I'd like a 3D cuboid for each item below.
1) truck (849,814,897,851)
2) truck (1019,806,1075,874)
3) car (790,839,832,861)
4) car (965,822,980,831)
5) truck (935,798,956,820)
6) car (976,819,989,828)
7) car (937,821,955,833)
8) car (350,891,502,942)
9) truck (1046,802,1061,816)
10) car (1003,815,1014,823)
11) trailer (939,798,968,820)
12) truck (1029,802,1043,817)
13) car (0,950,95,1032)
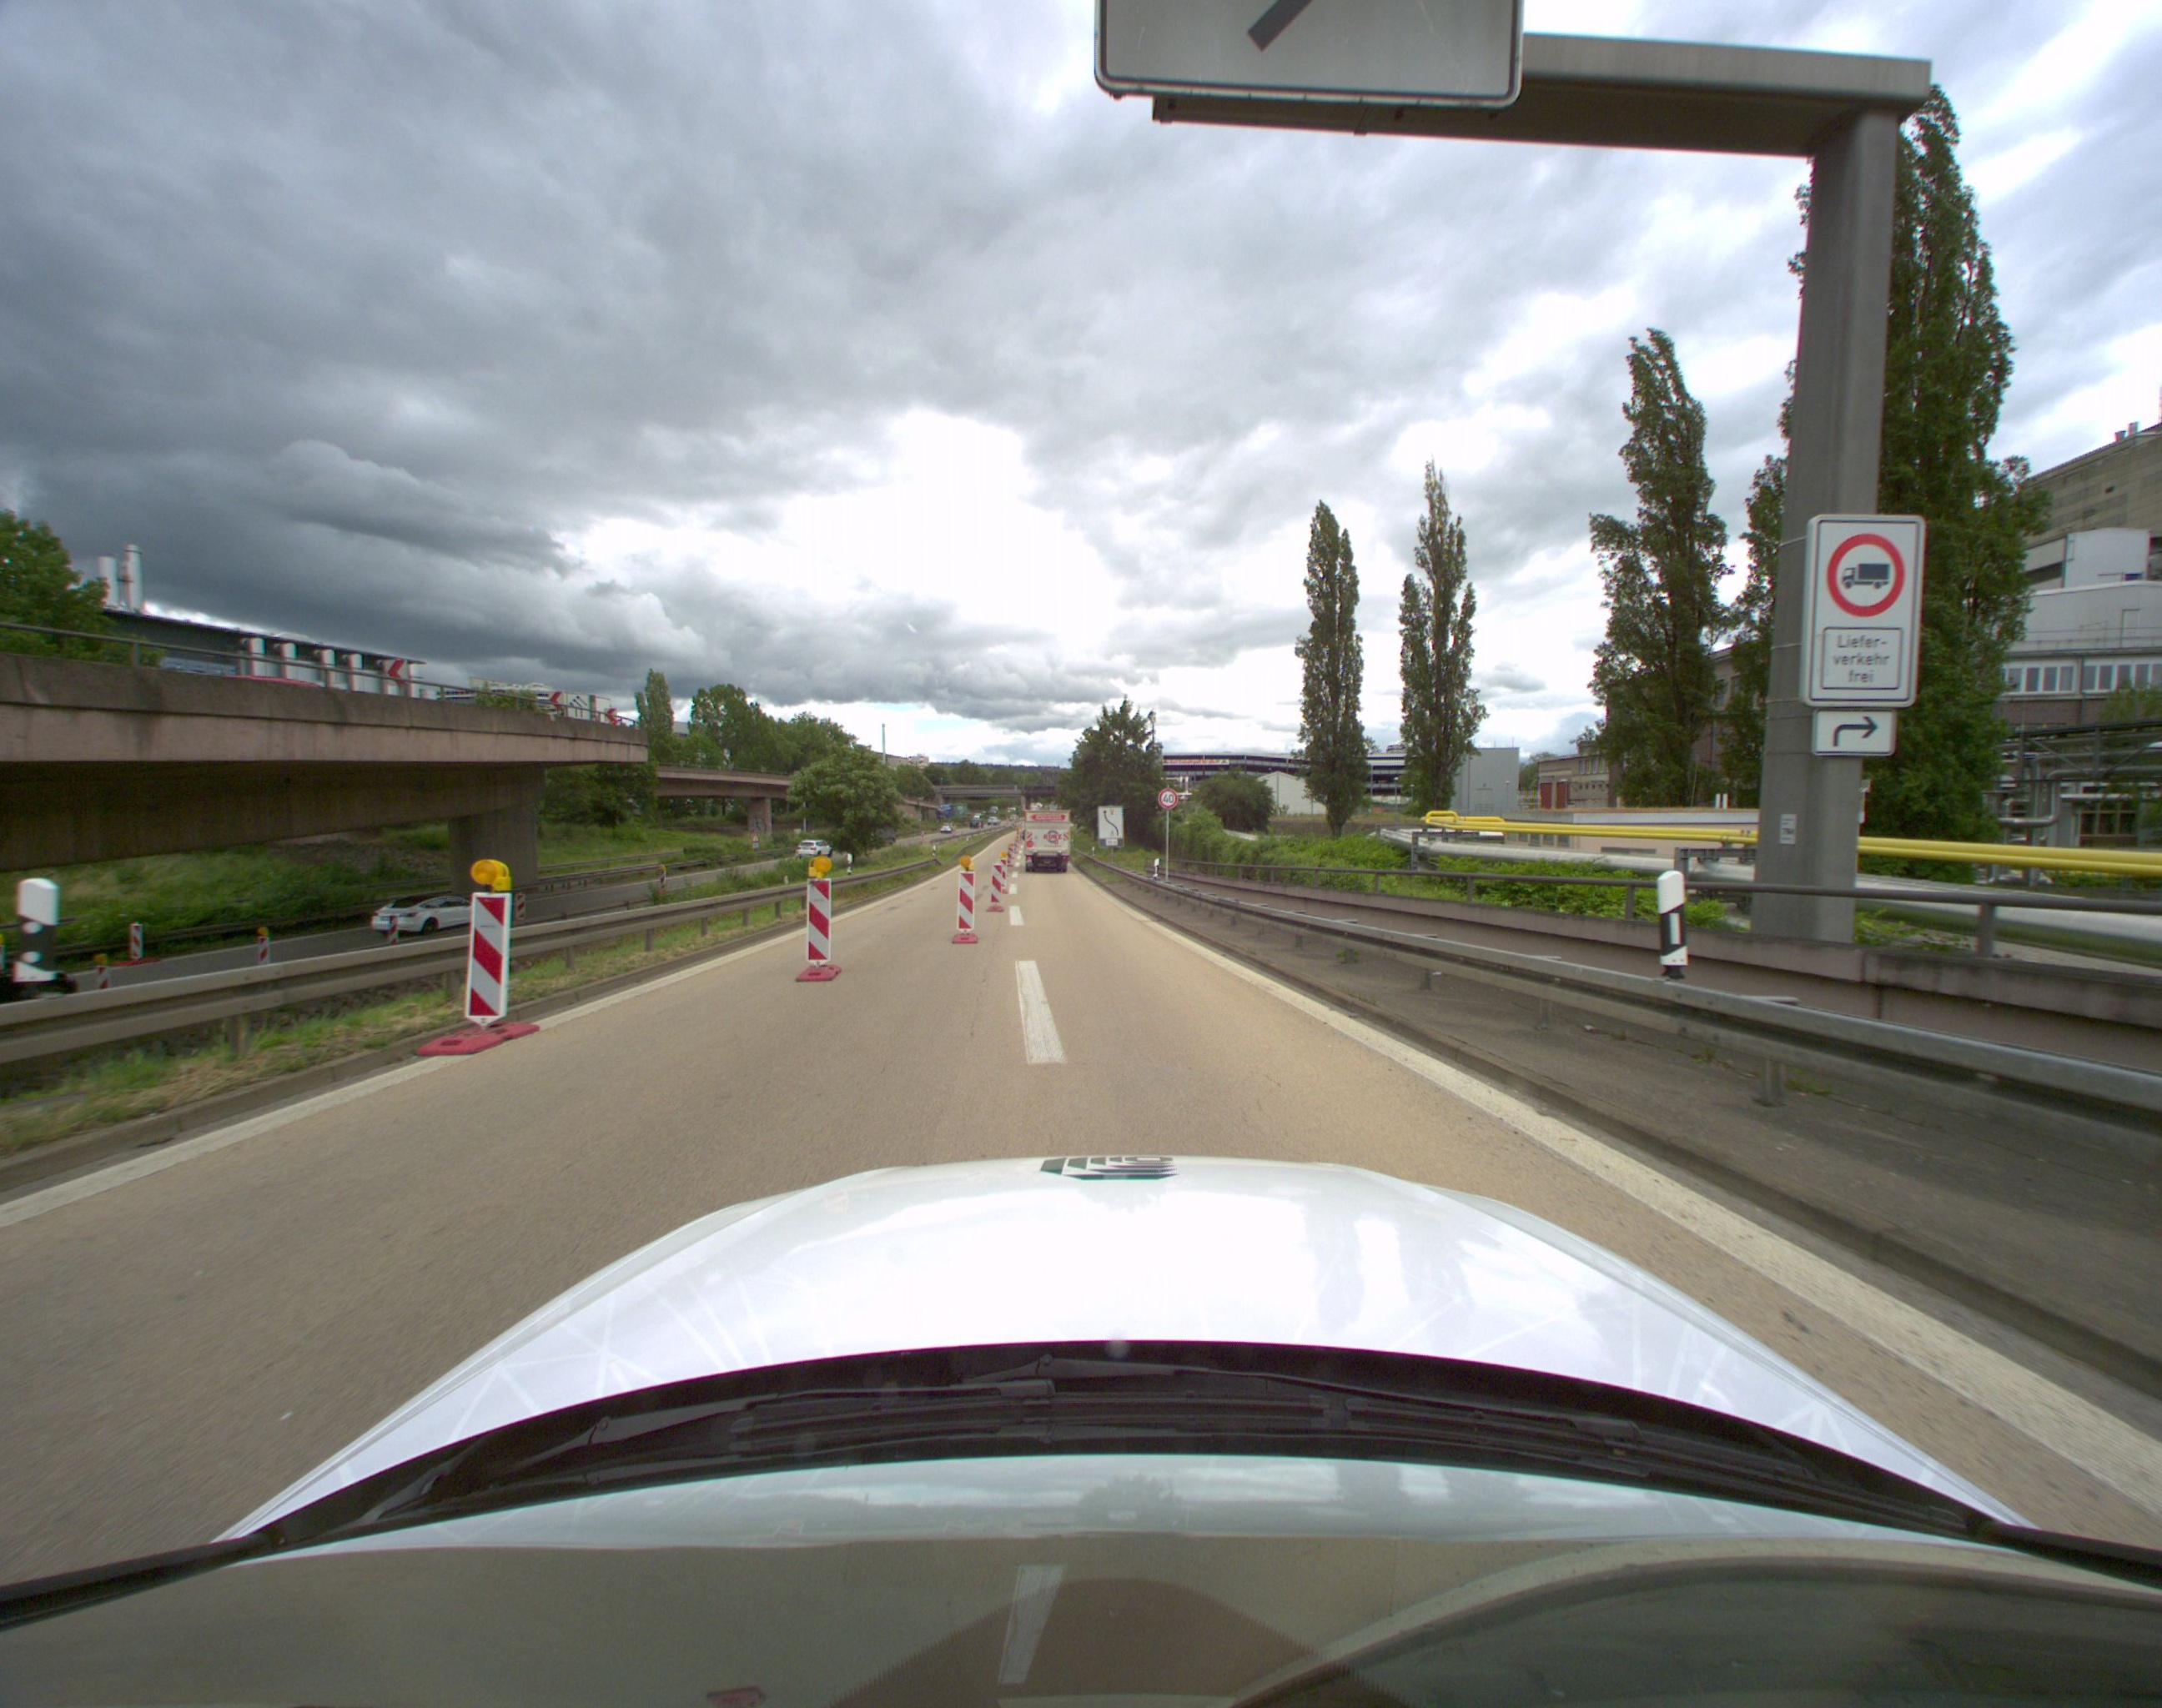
[{"bbox_3d":[-22.030,-2.363,86.665,3.039,3.655,7.401,0,3,2],"label":"truck"},{"bbox_3d":[-2.118,-0.883,48.550,3.045,3.672,7.918,0,2,-4],"label":"truck"},{"bbox_3d":[-24.002,-0.390,72.522,1.984,1.712,4.109,1,3,5],"label":"car"},{"bbox_3d":[-18.994,-4.839,143.054,1.986,1.617,4.002,0,3,1],"label":"car"},{"bbox_3d":[-26.995,-8.955,162.193,2.739,4.270,5.512,1,3,5],"label":"truck"},{"bbox_3d":[-18.632,-5.713,154.133,1.986,1.617,4.002,0,3,1],"label":"car"},{"bbox_3d":[-20.515,-4.137,123.937,1.986,1.617,4.002,0,3,1],"label":"car"},{"bbox_3d":[-26.637,2.485,33.387,1.984,1.455,4.810,1,3,5],"label":"car"},{"bbox_3d":[-7.622,-12.421,224.867,3.270,3.599,7.679,1,3,6],"label":"truck"},{"bbox_3d":[-16.048,-7.801,180.832,1.986,1.617,4.002,0,3,1],"label":"car"},{"bbox_3d":[-26.385,-9.306,169.296,2.758,4.292,14.001,0,3,5],"label":"trailer"},{"bbox_3d":[-12.009,-11.878,217.343,3.275,3.851,7.669,0,3,1],"label":"truck"},{"bbox_3d":[-26.800,3.440,18.886,2.027,1.614,4.586,1,3,5],"label":"car"}]
